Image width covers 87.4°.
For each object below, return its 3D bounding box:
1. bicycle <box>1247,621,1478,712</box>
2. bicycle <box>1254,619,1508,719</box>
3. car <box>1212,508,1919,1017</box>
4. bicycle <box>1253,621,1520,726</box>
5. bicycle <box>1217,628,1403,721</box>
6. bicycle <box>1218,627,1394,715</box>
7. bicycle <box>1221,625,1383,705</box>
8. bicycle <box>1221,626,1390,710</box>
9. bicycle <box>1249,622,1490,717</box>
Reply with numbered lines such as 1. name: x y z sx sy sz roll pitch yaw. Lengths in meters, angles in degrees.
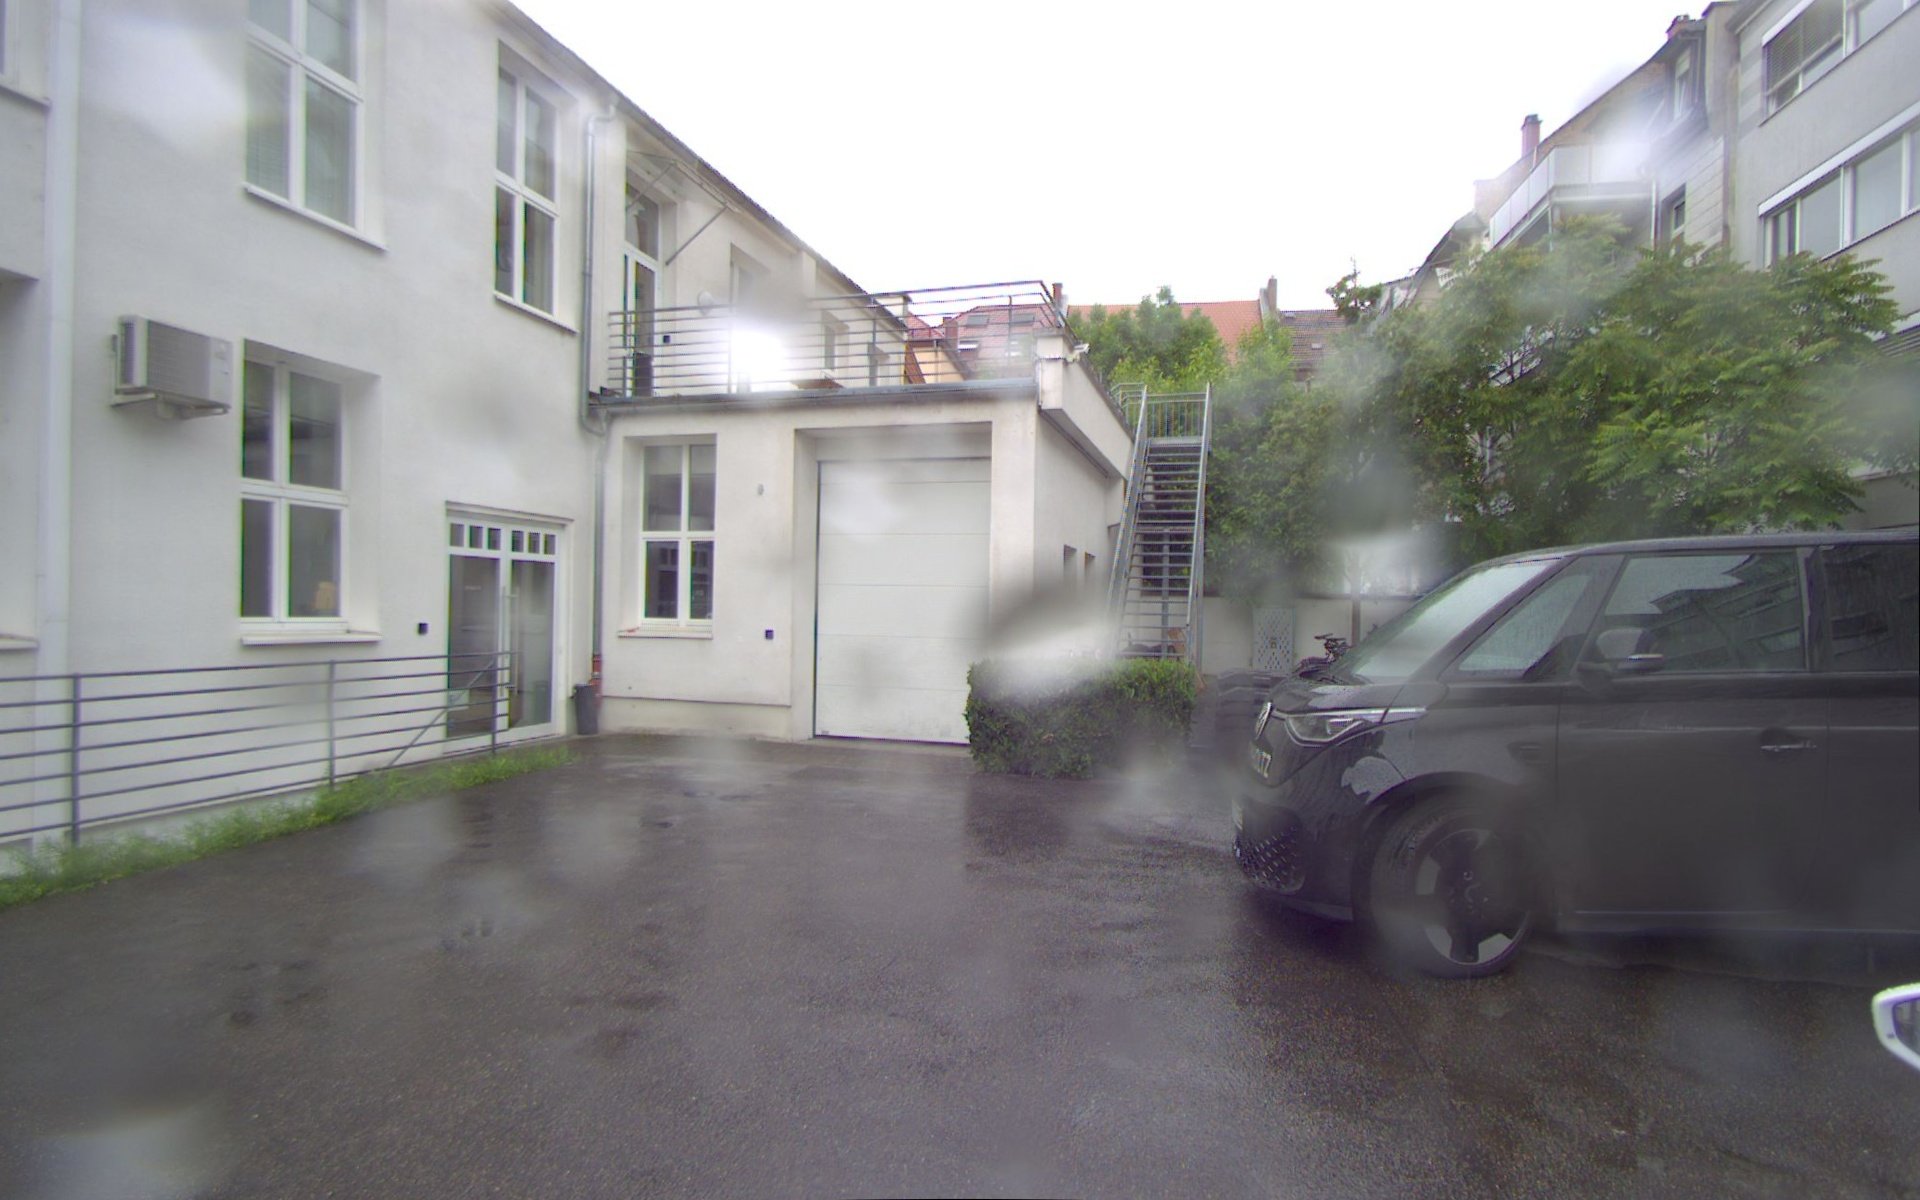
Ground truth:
1. bicycle: 6.010 0.982 15.184 3.159 1.258 0.631 1 -1 13
2. bicycle: 5.735 0.923 13.880 3.159 1.258 0.631 1 -1 13
3. car: 3.603 0.636 4.835 4.430 1.922 2.048 1 -1 8
4. bicycle: 5.516 0.930 13.190 3.159 1.258 0.631 1 -1 13
5. bicycle: 4.626 0.969 13.423 2.288 1.119 0.633 1 0 15
6. bicycle: 4.817 0.971 14.123 2.288 1.119 0.633 1 0 15
7. bicycle: 5.198 0.976 15.403 2.288 1.119 0.633 1 0 15
8. bicycle: 5.023 0.974 14.754 2.288 1.119 0.633 1 0 15
9. bicycle: 5.850 0.981 14.550 3.159 1.258 0.631 1 -1 13
